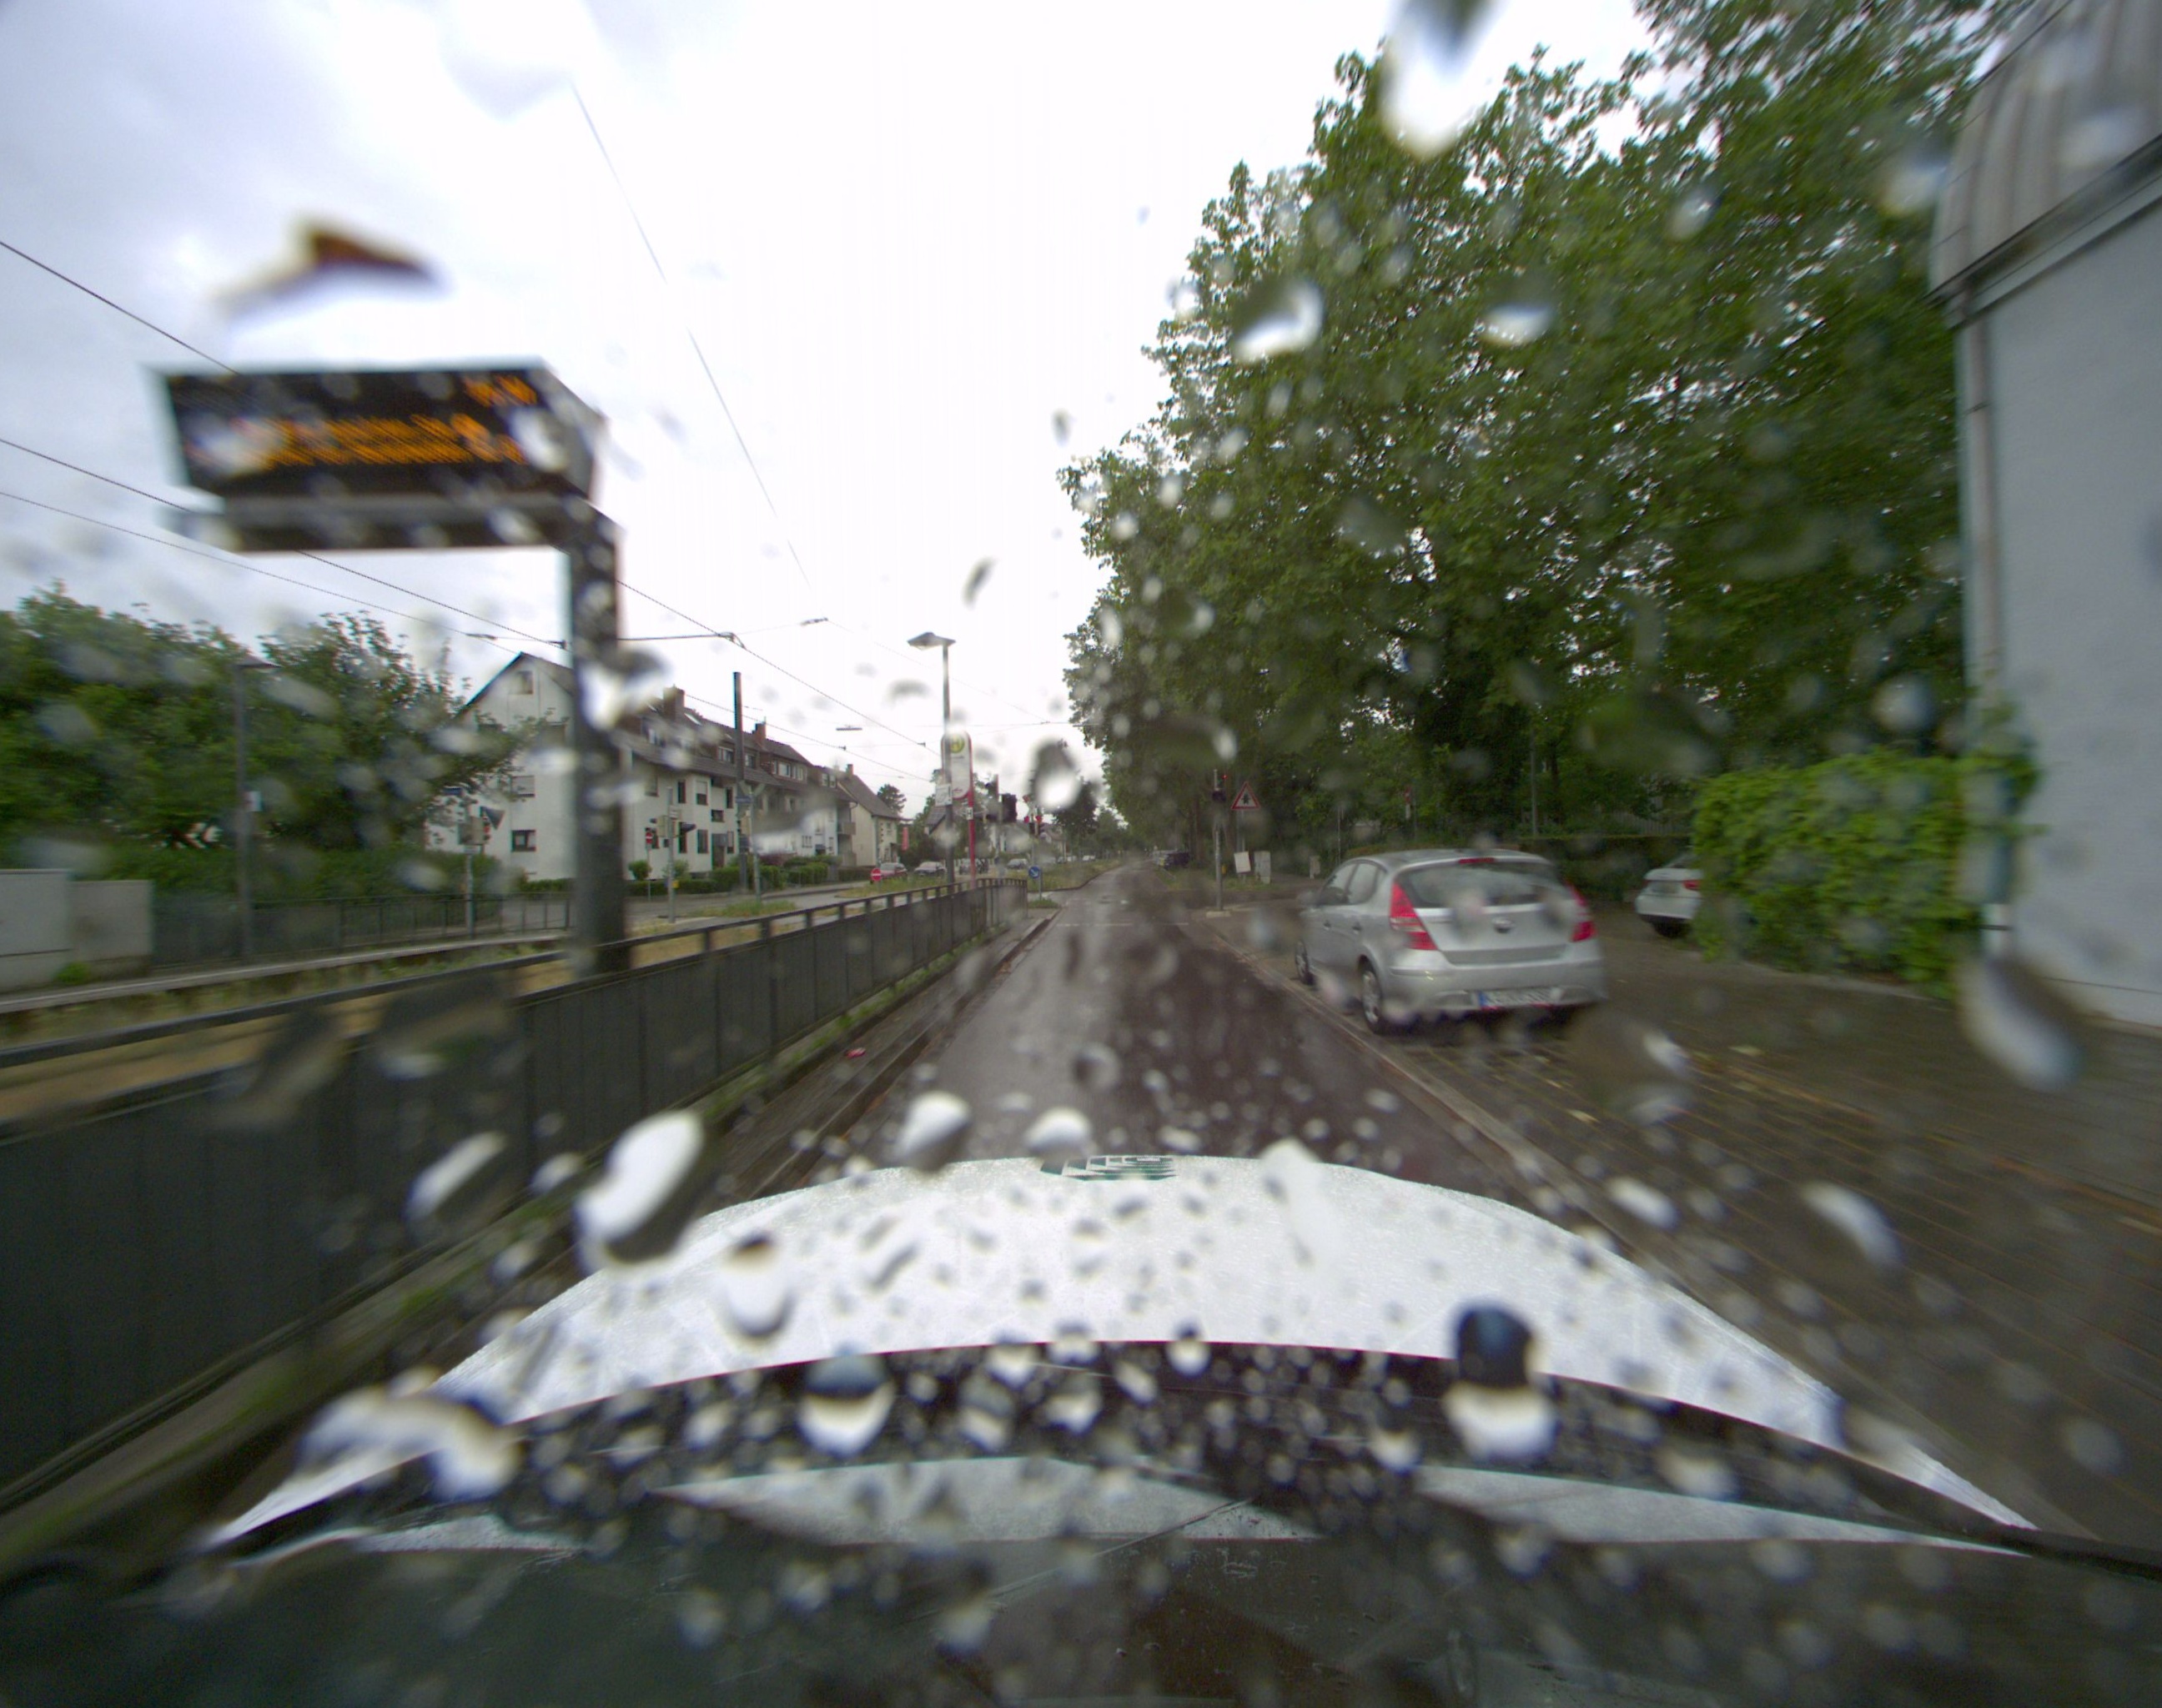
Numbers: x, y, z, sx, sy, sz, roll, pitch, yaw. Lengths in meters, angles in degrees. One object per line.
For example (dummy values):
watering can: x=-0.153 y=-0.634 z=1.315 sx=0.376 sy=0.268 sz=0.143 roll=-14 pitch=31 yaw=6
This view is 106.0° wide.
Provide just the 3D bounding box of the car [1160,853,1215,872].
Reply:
car: x=8.717 y=0.688 z=66.870 sx=3.991 sy=1.453 sz=1.991 roll=-1 pitch=-1 yaw=-13

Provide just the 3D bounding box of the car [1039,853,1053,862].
car: x=-6.192 y=0.590 z=145.729 sx=1.919 sy=1.486 sz=4.005 roll=-1 pitch=-1 yaw=5

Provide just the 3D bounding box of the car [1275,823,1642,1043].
car: x=3.219 y=0.605 z=7.883 sx=1.800 sy=1.467 sz=3.796 roll=-5 pitch=-1 yaw=2

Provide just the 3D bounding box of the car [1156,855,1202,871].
car: x=9.486 y=0.903 z=79.129 sx=3.991 sy=1.453 sz=1.991 roll=-1 pitch=-1 yaw=-13

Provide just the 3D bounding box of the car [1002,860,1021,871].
car: x=-9.509 y=1.538 z=111.338 sx=1.919 sy=1.486 sz=4.005 roll=-1 pitch=-1 yaw=5

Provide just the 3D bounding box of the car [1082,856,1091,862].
car: x=1.437 y=1.288 z=209.840 sx=1.919 sy=1.486 sz=4.005 roll=-1 pitch=-1 yaw=5

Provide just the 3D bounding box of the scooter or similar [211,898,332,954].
scooter or similar: x=-17.357 y=1.519 z=17.532 sx=0.660 sy=1.071 sz=1.868 roll=-1 pitch=-1 yaw=3

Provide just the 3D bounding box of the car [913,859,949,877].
car: x=-12.439 y=1.158 z=67.756 sx=1.919 sy=1.486 sz=4.005 roll=-1 pitch=-1 yaw=5

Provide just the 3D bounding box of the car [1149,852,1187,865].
car: x=10.091 y=0.524 z=94.864 sx=3.991 sy=1.453 sz=1.991 roll=-1 pitch=-1 yaw=-13

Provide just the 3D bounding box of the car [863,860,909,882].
car: x=-13.546 y=1.152 z=56.875 sx=1.919 sy=1.486 sz=4.005 roll=-1 pitch=-1 yaw=5

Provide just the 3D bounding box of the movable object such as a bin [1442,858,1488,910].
movable object such as a bin: x=7.919 y=0.606 z=16.812 sx=0.534 sy=1.022 sz=0.739 roll=-4 pitch=-1 yaw=1

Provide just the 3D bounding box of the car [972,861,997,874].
car: x=-10.766 y=1.505 z=91.309 sx=1.919 sy=1.486 sz=4.005 roll=-1 pitch=-1 yaw=5

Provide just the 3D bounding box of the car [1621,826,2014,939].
car: x=9.804 y=0.374 z=11.112 sx=3.680 sy=1.377 sz=1.762 roll=-1 pitch=-1 yaw=4

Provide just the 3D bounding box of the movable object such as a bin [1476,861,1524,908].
movable object such as a bin: x=8.521 y=0.619 z=16.584 sx=0.534 sy=0.899 sz=0.739 roll=-4 pitch=-1 yaw=1

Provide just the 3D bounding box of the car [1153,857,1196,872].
car: x=9.728 y=1.065 z=84.639 sx=3.991 sy=1.453 sz=1.991 roll=-1 pitch=-1 yaw=-13

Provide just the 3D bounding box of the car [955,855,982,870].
car: x=-11.686 y=0.893 z=84.671 sx=1.919 sy=1.486 sz=4.005 roll=-1 pitch=-1 yaw=5

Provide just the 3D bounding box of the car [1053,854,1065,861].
car: x=-4.510 y=0.700 z=167.971 sx=1.919 sy=1.486 sz=4.005 roll=-1 pitch=-1 yaw=5
